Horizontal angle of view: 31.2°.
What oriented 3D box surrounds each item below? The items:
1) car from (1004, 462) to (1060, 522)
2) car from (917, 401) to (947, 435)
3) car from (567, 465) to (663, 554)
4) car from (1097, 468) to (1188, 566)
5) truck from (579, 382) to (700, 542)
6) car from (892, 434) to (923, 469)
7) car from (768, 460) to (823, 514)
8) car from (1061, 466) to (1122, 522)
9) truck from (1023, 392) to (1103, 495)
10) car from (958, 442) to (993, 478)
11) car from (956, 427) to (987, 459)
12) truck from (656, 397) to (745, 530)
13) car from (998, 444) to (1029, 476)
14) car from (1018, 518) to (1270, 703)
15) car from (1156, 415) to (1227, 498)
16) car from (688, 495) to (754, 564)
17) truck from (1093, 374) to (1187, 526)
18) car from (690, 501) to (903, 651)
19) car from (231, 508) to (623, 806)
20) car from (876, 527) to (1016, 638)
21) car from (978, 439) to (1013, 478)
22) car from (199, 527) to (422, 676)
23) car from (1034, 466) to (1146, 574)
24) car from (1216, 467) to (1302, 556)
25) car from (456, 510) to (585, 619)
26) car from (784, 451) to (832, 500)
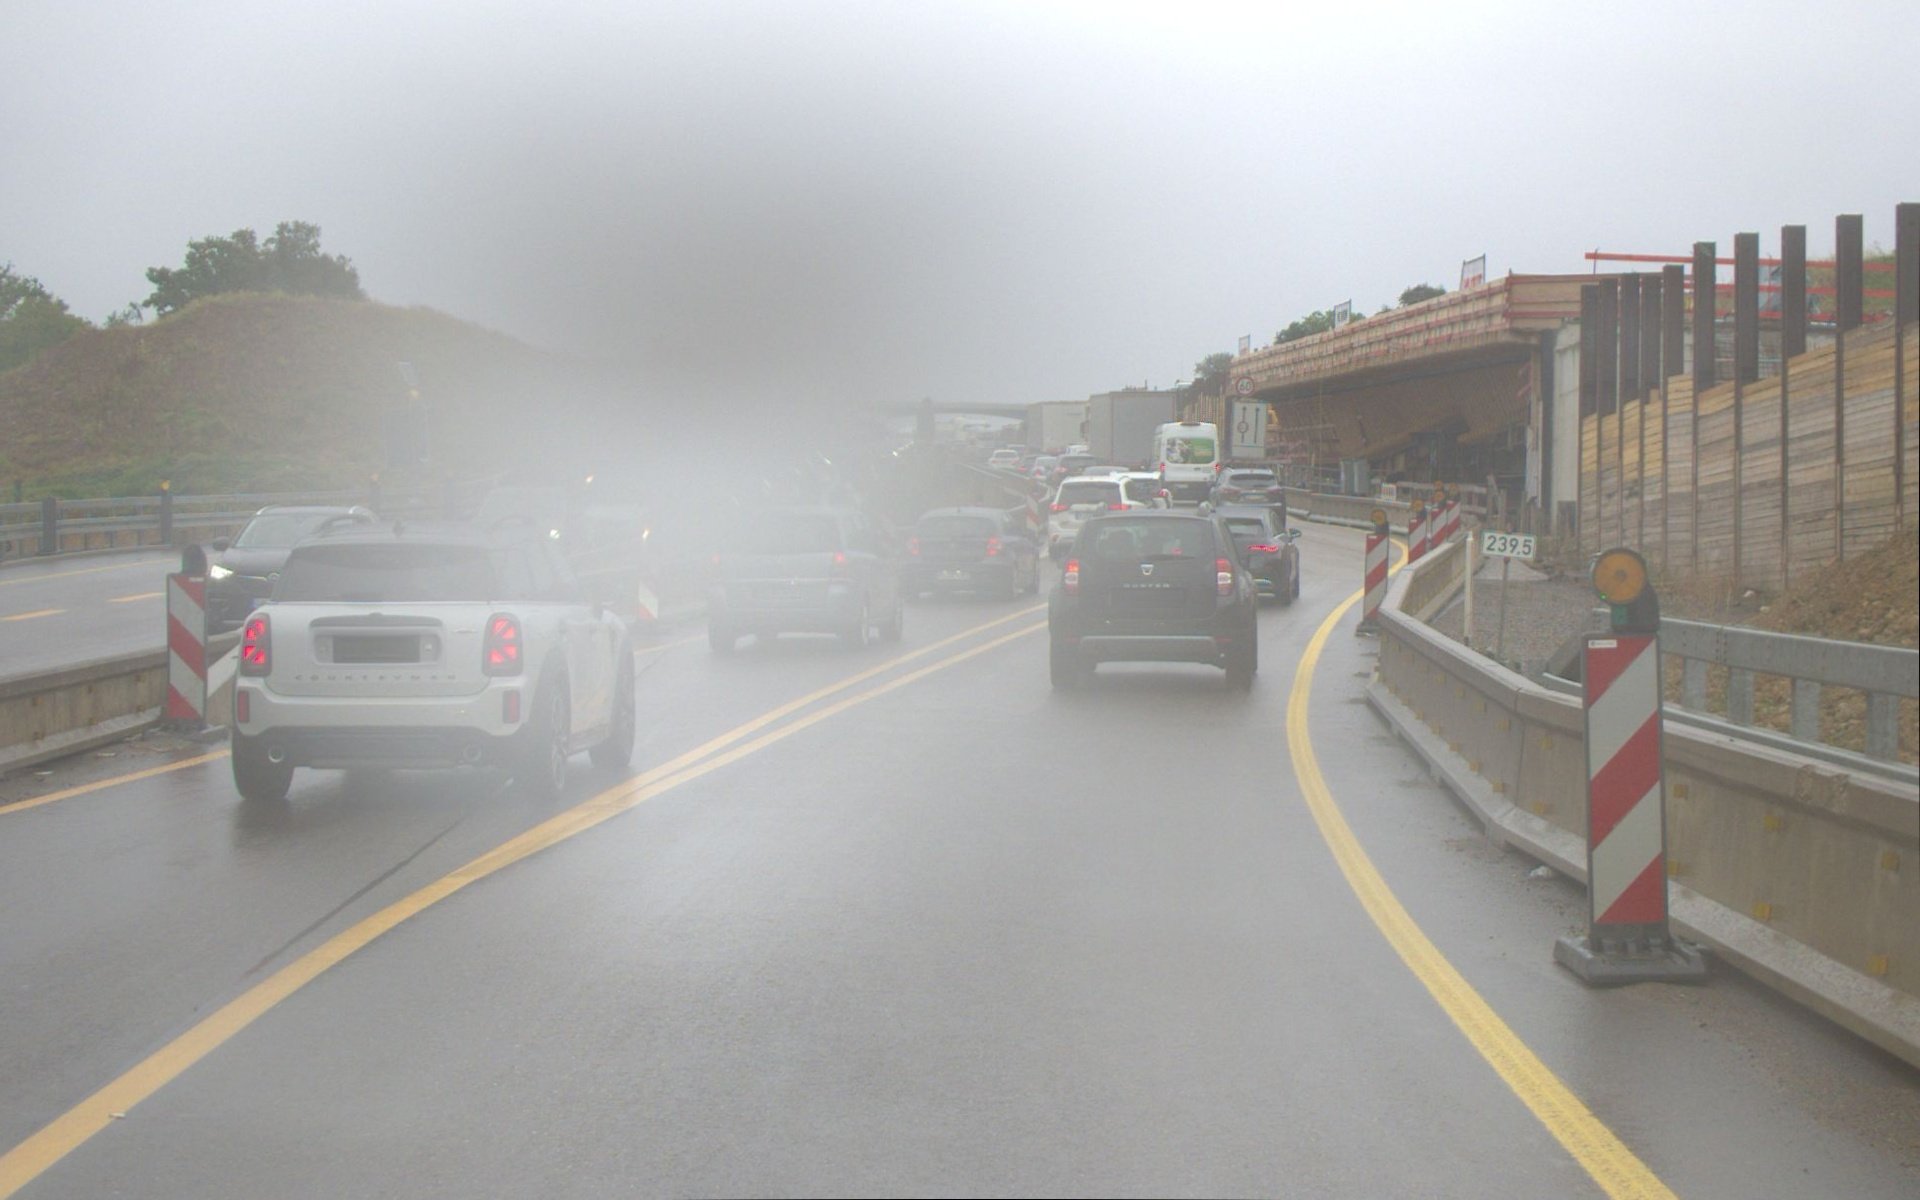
[{"bbox_3d":[2.842,-4.218,135.108,1.994,2.155,4.139,0,-1,4],"label":"car"},{"bbox_3d":[-1.973,-12.566,237.510,1.993,2.007,4.000,0,-1,-1],"label":"car"},{"bbox_3d":[-7.790,-2.023,77.857,1.785,1.804,4.499,0,-1,-1],"label":"car"},{"bbox_3d":[4.414,-1.967,82.554,1.994,2.155,4.139,0,-1,6],"label":"car"},{"bbox_3d":[-10.292,-4.359,111.077,3.083,4.903,8.564,1,1,0],"label":"truck"},{"bbox_3d":[-3.406,-9.626,223.348,1.993,2.007,4.000,0,-1,-1],"label":"car"},{"bbox_3d":[-7.515,-5.164,157.410,2.238,2.351,4.877,1,1,0],"label":"car"},{"bbox_3d":[4.548,-3.673,119.374,1.993,1.755,3.814,0,-1,0],"label":"car"},{"bbox_3d":[5.810,-8.858,196.478,3.803,5.026,12.921,0,-1,-2],"label":"truck"},{"bbox_3d":[0.938,-8.398,206.465,1.993,2.007,4.000,-1,1,-1],"label":"car"},{"bbox_3d":[0.763,-10.627,233.517,1.993,2.007,4.000,-1,1,-1],"label":"car"},{"bbox_3d":[-11.073,-5.770,147.426,3.141,5.399,8.523,1,1,0],"label":"truck"},{"bbox_3d":[3.712,-9.726,239.105,1.993,2.007,4.000,0,-1,-2],"label":"car"},{"bbox_3d":[1.632,0.131,31.845,2.081,1.595,4.140,0,-1,0],"label":"car"},{"bbox_3d":[7.712,-4.759,114.965,1.993,2.476,4.981,0,-1,-1],"label":"car"},{"bbox_3d":[-6.732,-1.969,97.104,1.623,1.804,3.637,0,-1,0],"label":"car"},{"bbox_3d":[7.173,-5.806,135.691,3.102,5.408,9.440,0,-1,7],"label":"truck"},{"bbox_3d":[-1.803,-0.230,39.169,1.994,1.595,4.140,0,-1,3],"label":"car"},{"bbox_3d":[-3.064,0.328,20.560,1.816,1.595,4.308,0,-1,-2],"label":"car"},{"bbox_3d":[-0.256,-0.238,52.594,1.993,1.595,4.140,0,-1,-2],"label":"car"},{"bbox_3d":[1.926,-7.706,187.166,1.849,1.887,4.021,0,-1,0],"label":"car"},{"bbox_3d":[-7.857,-0.037,42.057,1.737,1.679,5.552,1,1,-1],"label":"car"},{"bbox_3d":[2.600,-1.584,69.564,1.993,2.007,3.893,0,-1,-2],"label":"car"},{"bbox_3d":[7.865,-2.315,90.735,1.993,2.155,4.140,0,-1,1],"label":"car"},{"bbox_3d":[-7.851,-0.603,61.722,1.785,1.804,4.499,0,-1,-1],"label":"car"},{"bbox_3d":[-7.637,-6.247,173.057,2.217,2.362,4.664,1,1,0],"label":"car"}]
